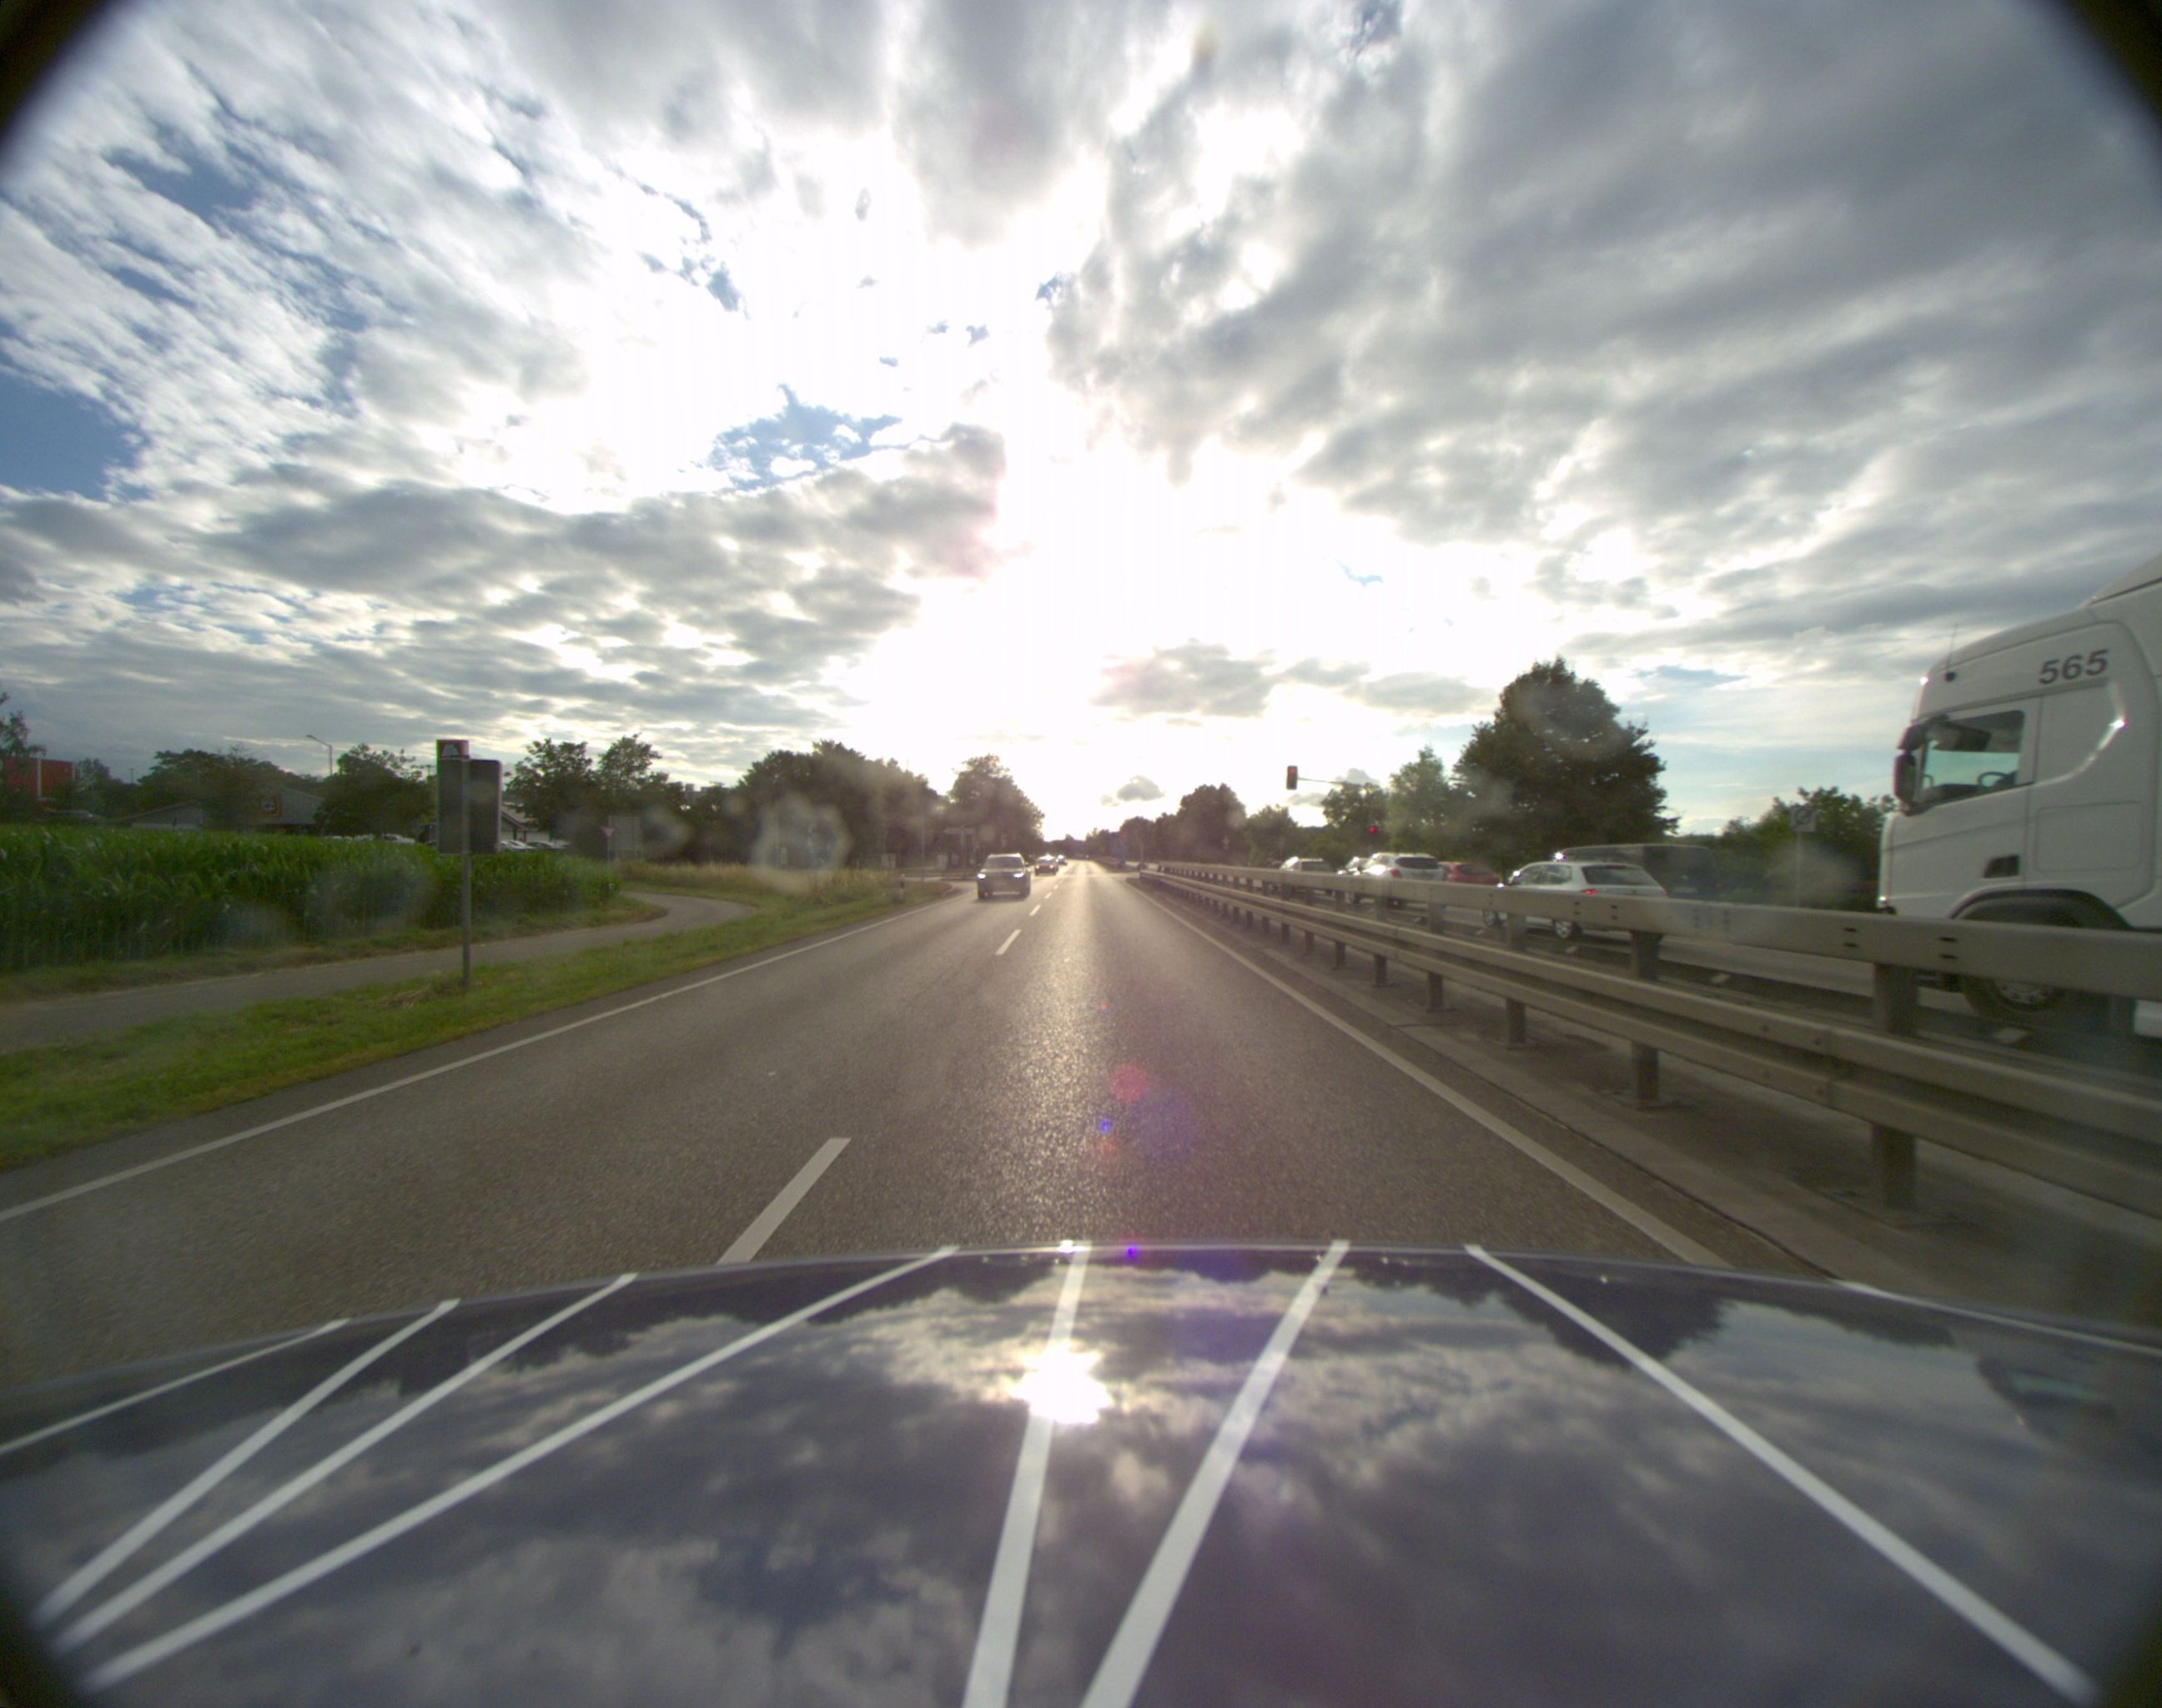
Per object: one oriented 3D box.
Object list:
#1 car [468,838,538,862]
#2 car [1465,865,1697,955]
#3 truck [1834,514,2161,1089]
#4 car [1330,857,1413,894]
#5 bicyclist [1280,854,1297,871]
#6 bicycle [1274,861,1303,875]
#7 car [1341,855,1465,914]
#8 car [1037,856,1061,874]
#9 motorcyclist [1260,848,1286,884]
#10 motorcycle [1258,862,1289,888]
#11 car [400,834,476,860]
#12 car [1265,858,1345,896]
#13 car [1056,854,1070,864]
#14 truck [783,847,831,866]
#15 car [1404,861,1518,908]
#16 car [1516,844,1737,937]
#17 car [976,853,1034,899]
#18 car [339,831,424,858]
[{"bbox_3d":[-48.923,-0.342,64.331,4.303,1.873,1.960,2,1,-3],"label":"car"},{"bbox_3d":[9.471,0.977,14.885,1.793,1.436,4.160,1,0,0],"label":"car"},{"bbox_3d":[9.474,-0.332,4.694,3.483,4.126,6.049,2,1,0],"label":"truck"},{"bbox_3d":[13.279,0.949,35.053,1.912,1.526,4.938,1,0,0],"label":"car"},{"bbox_3d":[18.107,0.702,66.296,1.225,1.443,0.816,1,1,6],"label":"bicyclist"},{"bbox_3d":[18.070,1.220,66.305,2.324,1.131,0.816,1,1,6],"label":"bicycle"},{"bbox_3d":[9.643,0.835,23.191,1.912,1.600,4.404,1,0,0],"label":"car"},{"bbox_3d":[-2.655,0.906,63.013,1.666,1.424,3.995,-1,0,2],"label":"car"},{"bbox_3d":[9.497,0.572,37.652,0.918,1.699,1.276,1,1,1],"label":"motorcyclist"},{"bbox_3d":[9.498,1.014,37.659,0.918,1.196,2.478,1,1,1],"label":"motorcycle"},{"bbox_3d":[-51.250,-0.583,60.645,4.303,1.873,1.960,2,1,-3],"label":"car"},{"bbox_3d":[9.505,0.920,32.719,1.912,1.420,5.152,1,0,0],"label":"car"},{"bbox_3d":[-2.825,0.836,118.392,1.998,1.486,4.000,1,0,0],"label":"car"},{"bbox_3d":[-30.619,0.276,85.036,4.679,1.985,1.819,-1,1,-35],"label":"truck"},{"bbox_3d":[13.204,1.018,26.733,1.912,1.456,4.184,1,0,0],"label":"car"},{"bbox_3d":[13.377,0.772,19.135,1.998,2.002,4.946,1,1,1],"label":"car"},{"bbox_3d":[-2.950,0.822,30.412,1.849,1.640,4.480,-2,0,0],"label":"car"},{"bbox_3d":[-54.740,-0.758,59.636,2.000,2.002,5.610,1,1,-7],"label":"car"}]
